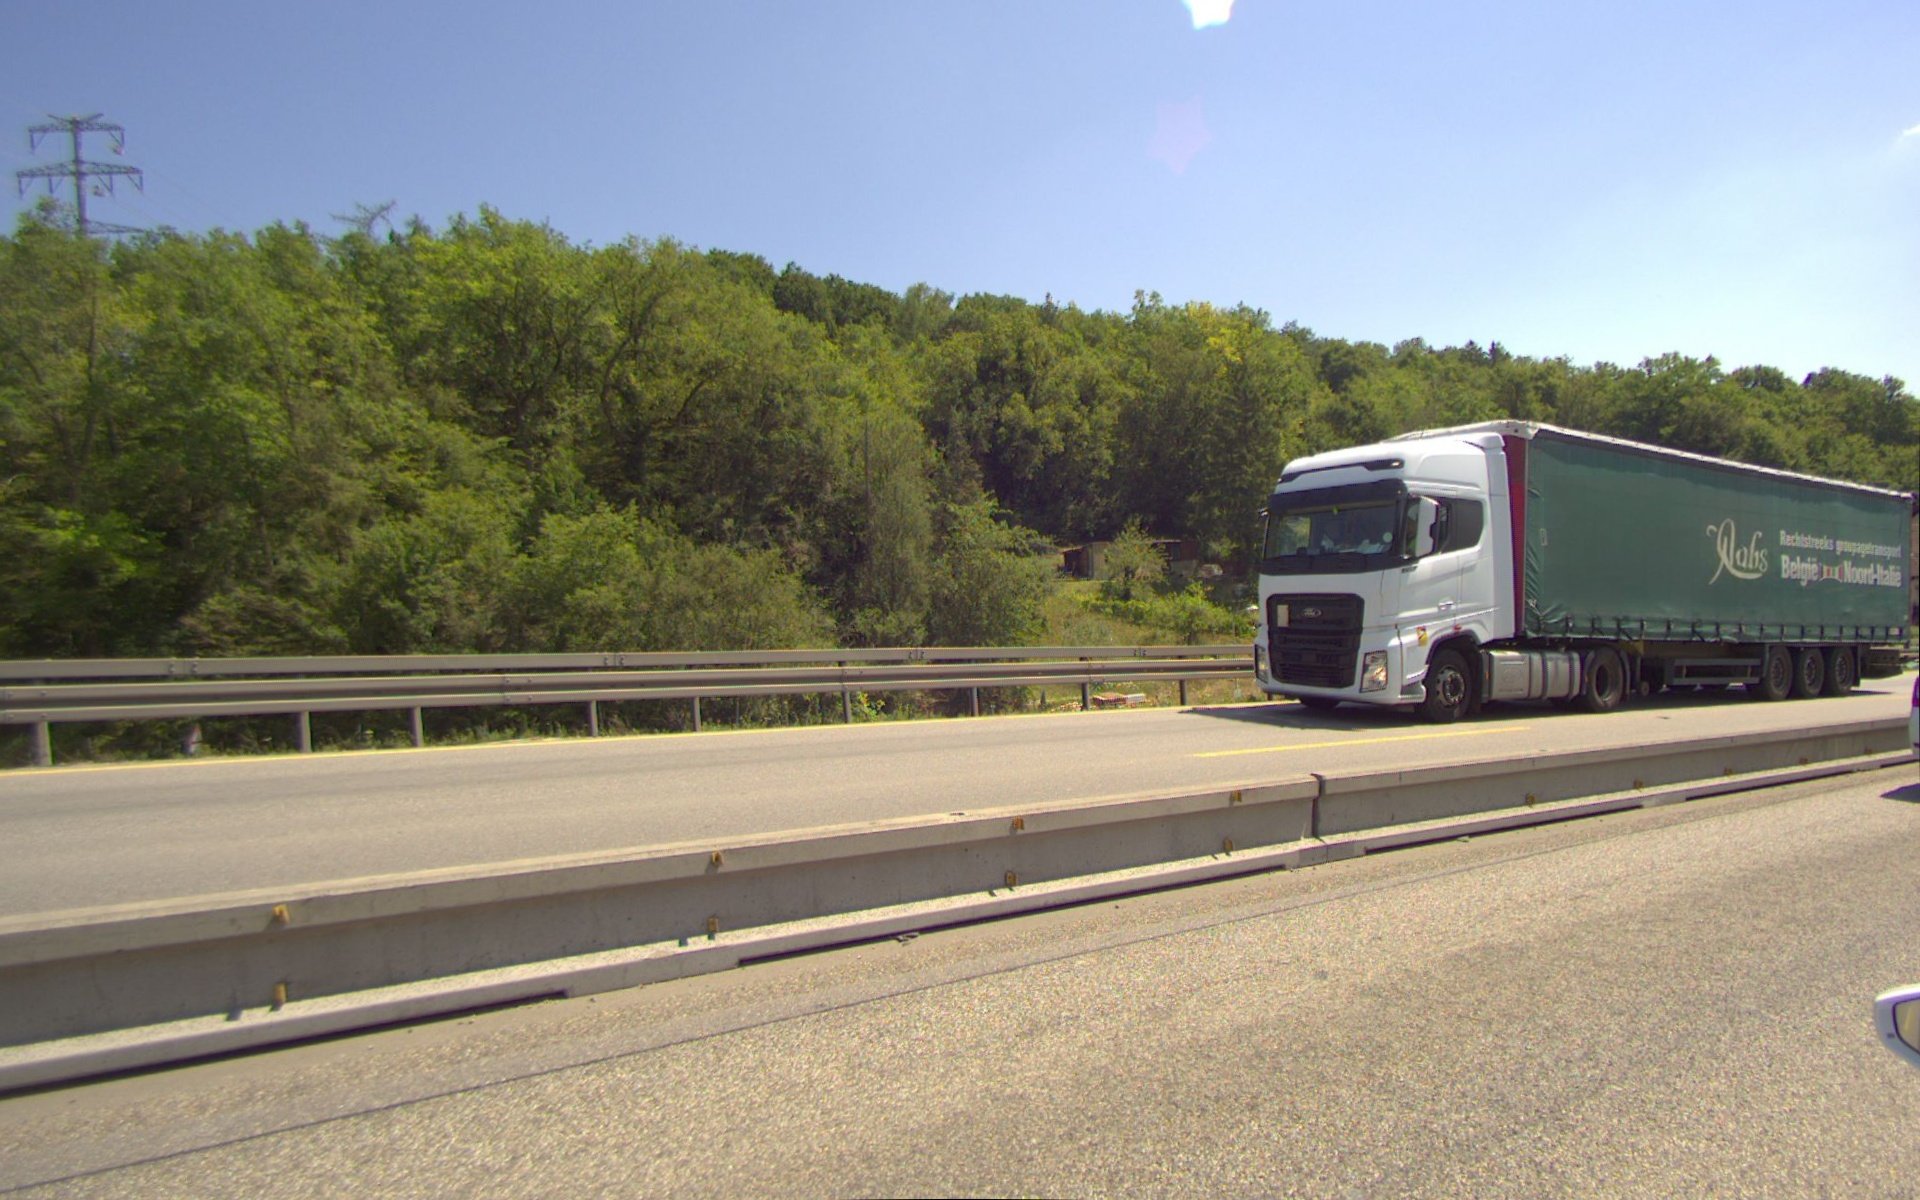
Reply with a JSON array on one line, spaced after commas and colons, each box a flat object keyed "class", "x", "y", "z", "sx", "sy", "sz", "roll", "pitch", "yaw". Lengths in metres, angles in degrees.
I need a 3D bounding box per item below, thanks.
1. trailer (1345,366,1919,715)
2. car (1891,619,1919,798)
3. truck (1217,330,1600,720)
[{"class": "trailer", "x": 13.225, "y": -0.619, "z": 18.749, "sx": 13.831, "sy": 4.879, "sz": 3.051, "roll": 2, "pitch": -1, "yaw": -29}, {"class": "car", "x": 10.239, "y": 0.947, "z": 8.971, "sx": 4.216, "sy": 1.503, "sz": 1.644, "roll": 2, "pitch": -3, "yaw": -30}, {"class": "truck", "x": 6.683, "y": -0.875, "z": 15.057, "sx": 4.589, "sy": 4.885, "sz": 3.047, "roll": 2, "pitch": -1, "yaw": -29}]
